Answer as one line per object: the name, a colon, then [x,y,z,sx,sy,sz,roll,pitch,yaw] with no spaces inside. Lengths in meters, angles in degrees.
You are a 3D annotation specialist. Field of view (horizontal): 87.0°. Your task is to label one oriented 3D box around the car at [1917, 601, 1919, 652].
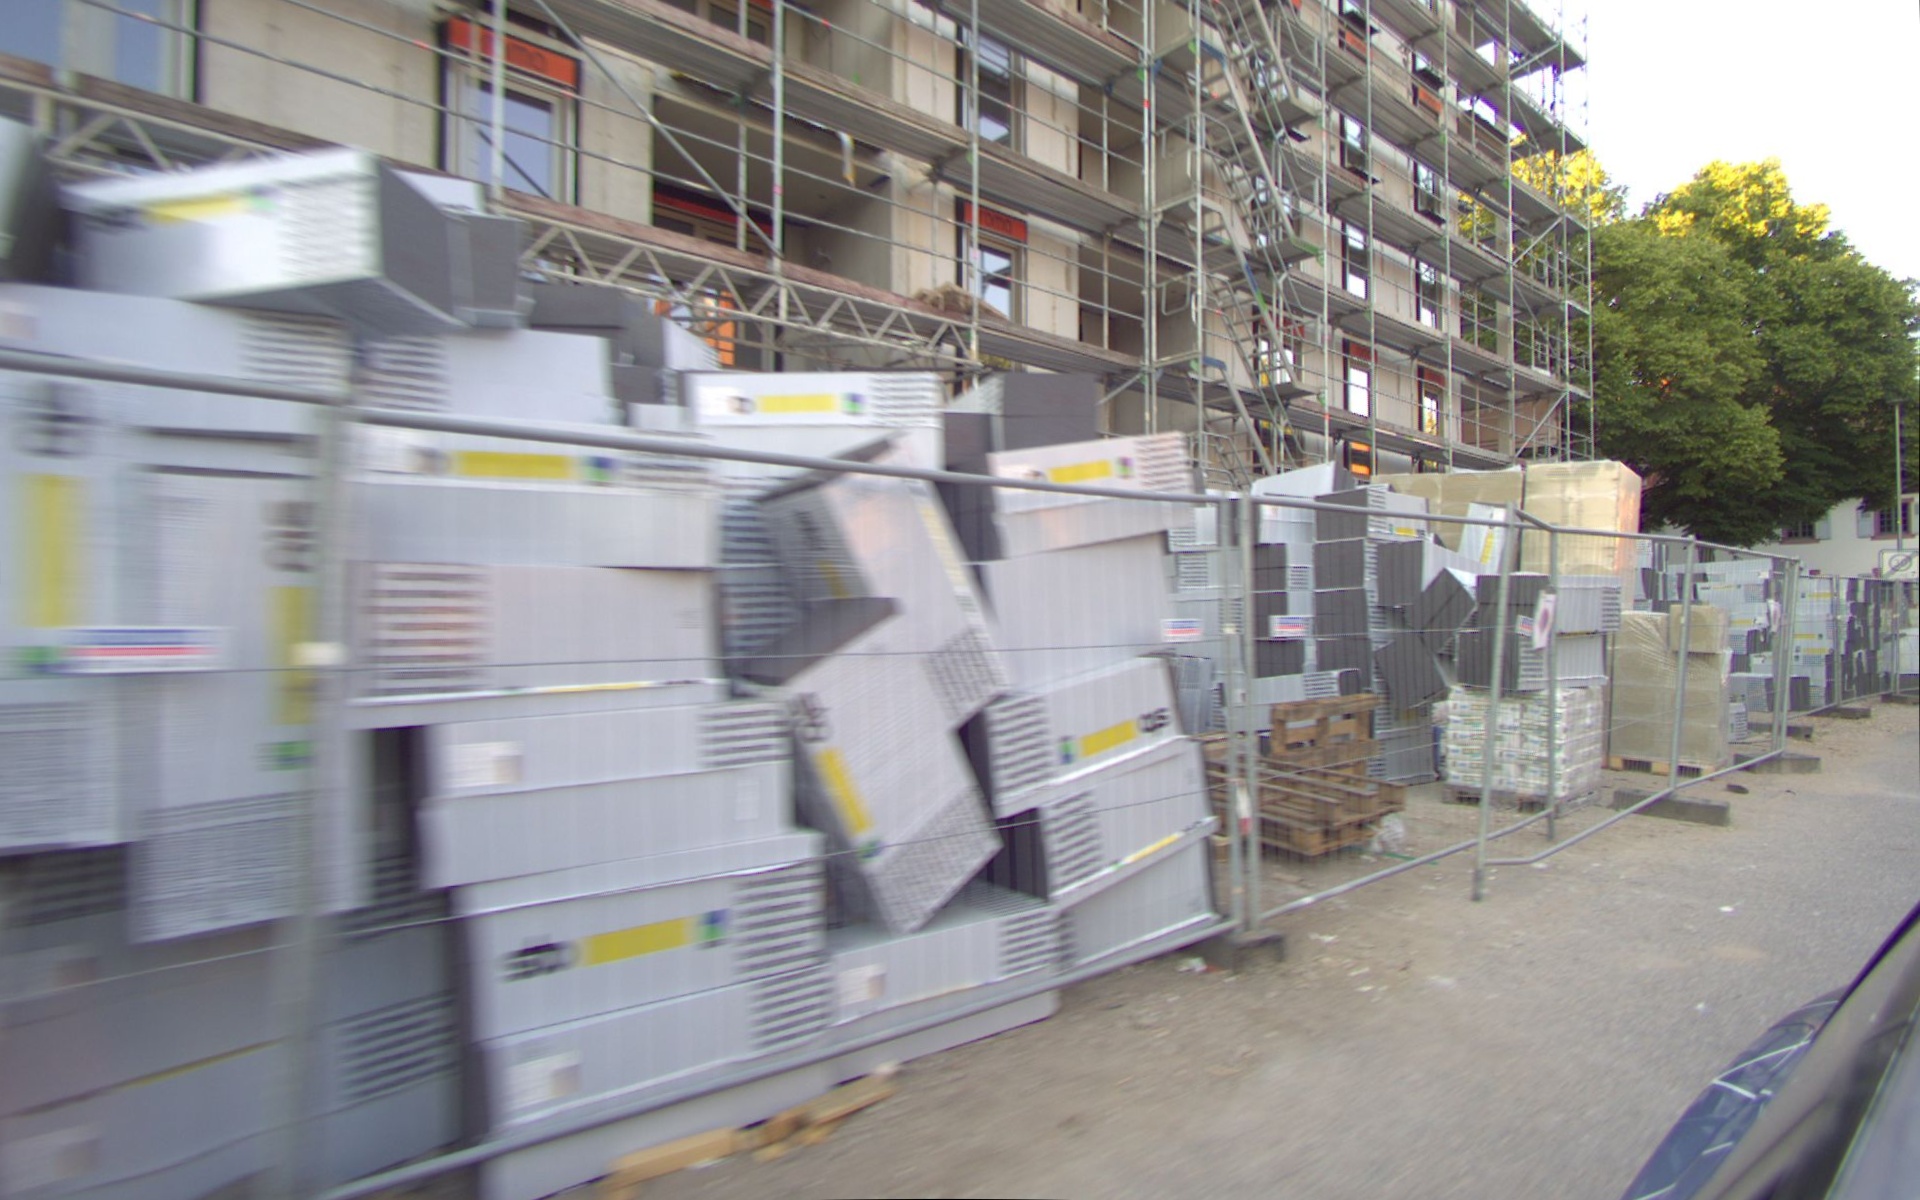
car: [31.593,0.770,30.077,1.760,1.577,4.401,2,-3,-41]
